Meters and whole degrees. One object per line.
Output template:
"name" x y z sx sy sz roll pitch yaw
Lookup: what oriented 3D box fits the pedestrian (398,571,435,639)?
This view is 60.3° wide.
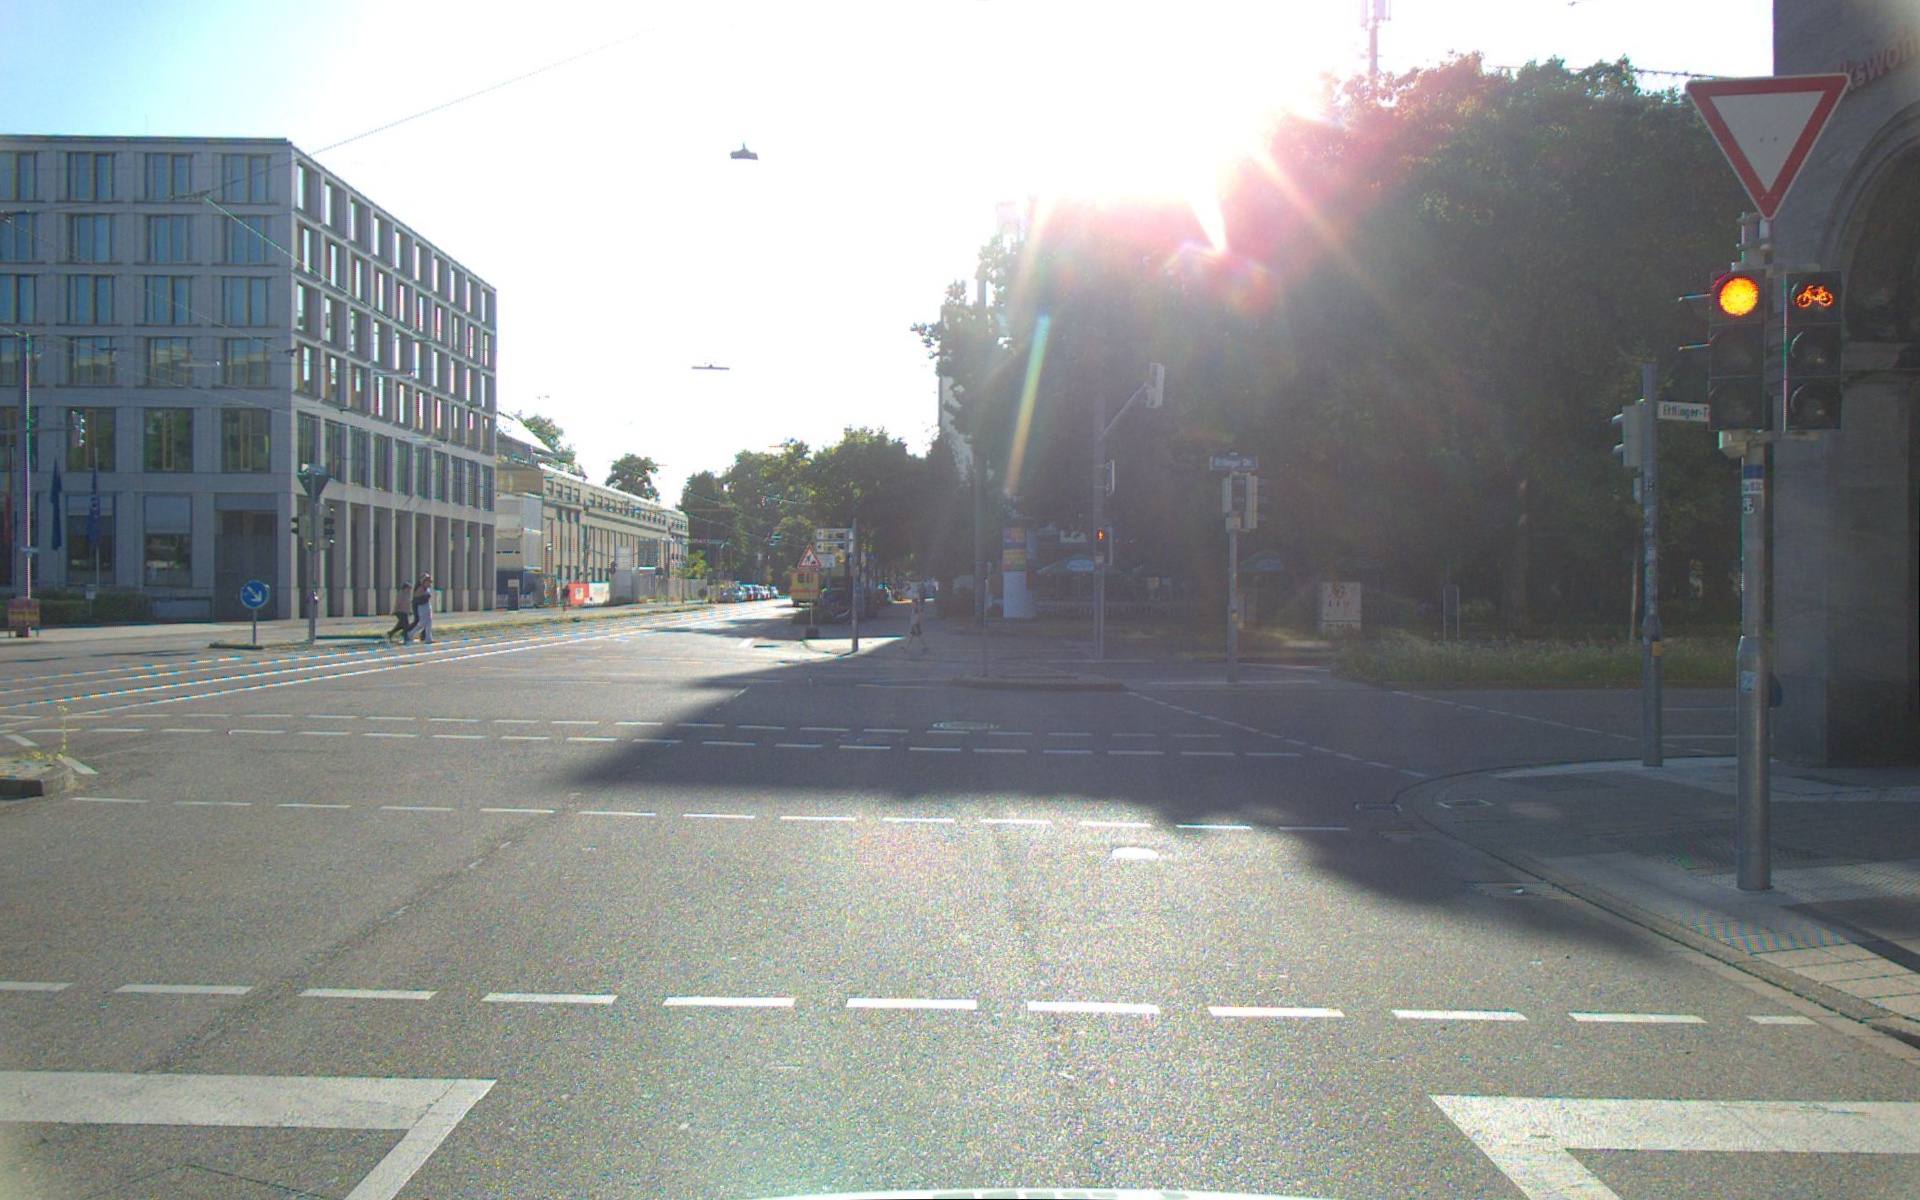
"pedestrian" -14.598 0.141 44.447 0.732 1.792 0.678 -1 -1 4

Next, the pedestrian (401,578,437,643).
"pedestrian" -14.074 0.264 43.029 0.777 1.673 0.620 0 0 -5

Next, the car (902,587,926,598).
"car" -5.871 -0.930 211.196 3.153 1.285 1.372 1 0 -2

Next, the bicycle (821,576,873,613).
"bicycle" -5.551 -0.252 81.318 2.495 1.774 1.037 1 0 -1

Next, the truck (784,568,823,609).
"truck" -11.966 -0.841 127.112 2.662 3.068 6.486 0 0 -3

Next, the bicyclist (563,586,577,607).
"bicyclist" -24.961 -0.237 105.848 0.675 1.351 1.000 1 0 -1

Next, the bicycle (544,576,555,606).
"bicycle" -32.172 -0.671 129.611 0.559 2.336 1.422 0 0 -2

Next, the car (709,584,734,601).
"car" -22.513 -0.699 156.303 1.856 1.635 4.498 0 0 -3

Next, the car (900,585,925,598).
"car" -6.111 -1.120 213.354 3.152 1.616 1.445 1 0 -5

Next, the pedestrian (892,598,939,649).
"pedestrian" -1.189 0.609 44.039 0.977 1.340 0.764 0 0 37

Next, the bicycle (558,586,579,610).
"bicycle" -25.008 -0.130 105.777 0.675 1.538 2.944 1 0 -1

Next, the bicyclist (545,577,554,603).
"bicyclist" -32.173 -0.792 129.597 0.559 2.059 0.761 0 0 -2

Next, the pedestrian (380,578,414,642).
"pedestrian" -14.887 0.265 43.753 0.680 1.673 0.621 0 0 0
